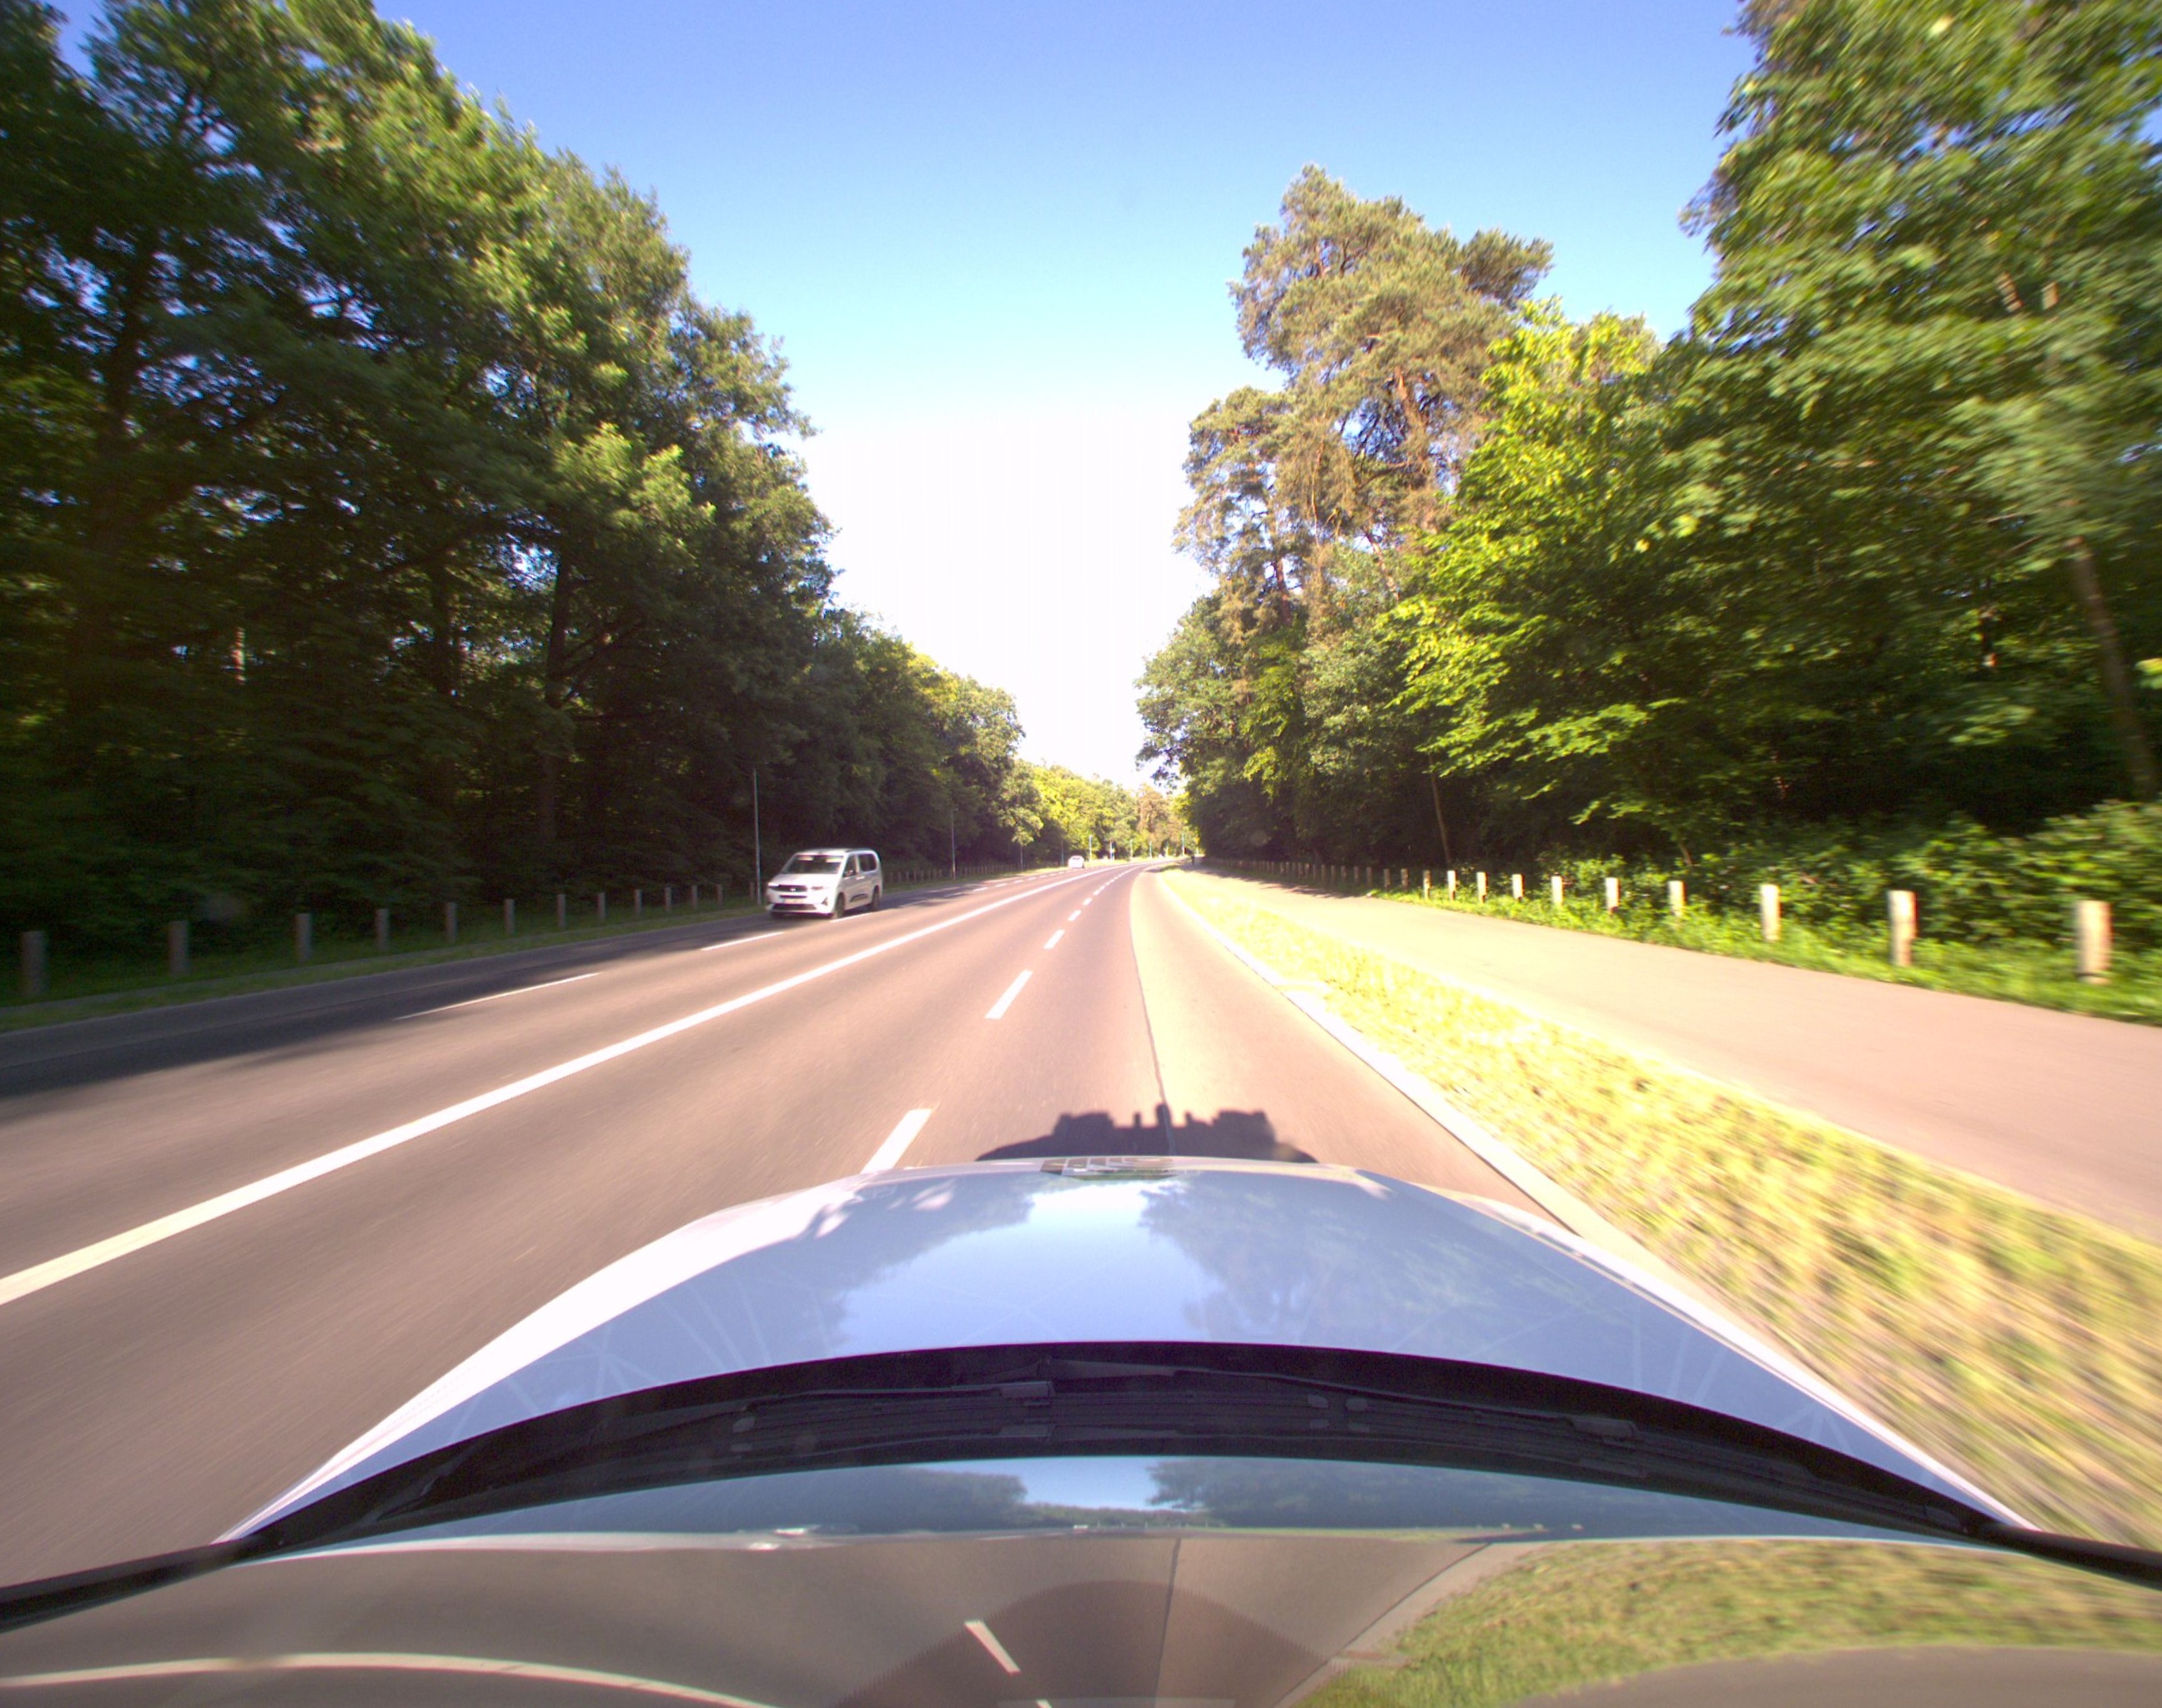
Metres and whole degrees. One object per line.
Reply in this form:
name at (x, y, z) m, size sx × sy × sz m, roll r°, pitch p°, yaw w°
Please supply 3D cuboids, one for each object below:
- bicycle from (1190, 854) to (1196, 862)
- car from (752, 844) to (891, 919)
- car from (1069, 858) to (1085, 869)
bicycle at (14.895, 0.530, 108.482) m, size 0.708 × 1.056 × 2.057 m, roll -1°, pitch 0°, yaw 7°
car at (-6.967, 0.683, 22.517) m, size 1.993 × 1.826 × 5.003 m, roll 0°, pitch 0°, yaw 3°
car at (-0.432, 1.181, 102.599) m, size 1.579 × 1.437 × 4.315 m, roll 0°, pitch 0°, yaw 5°
